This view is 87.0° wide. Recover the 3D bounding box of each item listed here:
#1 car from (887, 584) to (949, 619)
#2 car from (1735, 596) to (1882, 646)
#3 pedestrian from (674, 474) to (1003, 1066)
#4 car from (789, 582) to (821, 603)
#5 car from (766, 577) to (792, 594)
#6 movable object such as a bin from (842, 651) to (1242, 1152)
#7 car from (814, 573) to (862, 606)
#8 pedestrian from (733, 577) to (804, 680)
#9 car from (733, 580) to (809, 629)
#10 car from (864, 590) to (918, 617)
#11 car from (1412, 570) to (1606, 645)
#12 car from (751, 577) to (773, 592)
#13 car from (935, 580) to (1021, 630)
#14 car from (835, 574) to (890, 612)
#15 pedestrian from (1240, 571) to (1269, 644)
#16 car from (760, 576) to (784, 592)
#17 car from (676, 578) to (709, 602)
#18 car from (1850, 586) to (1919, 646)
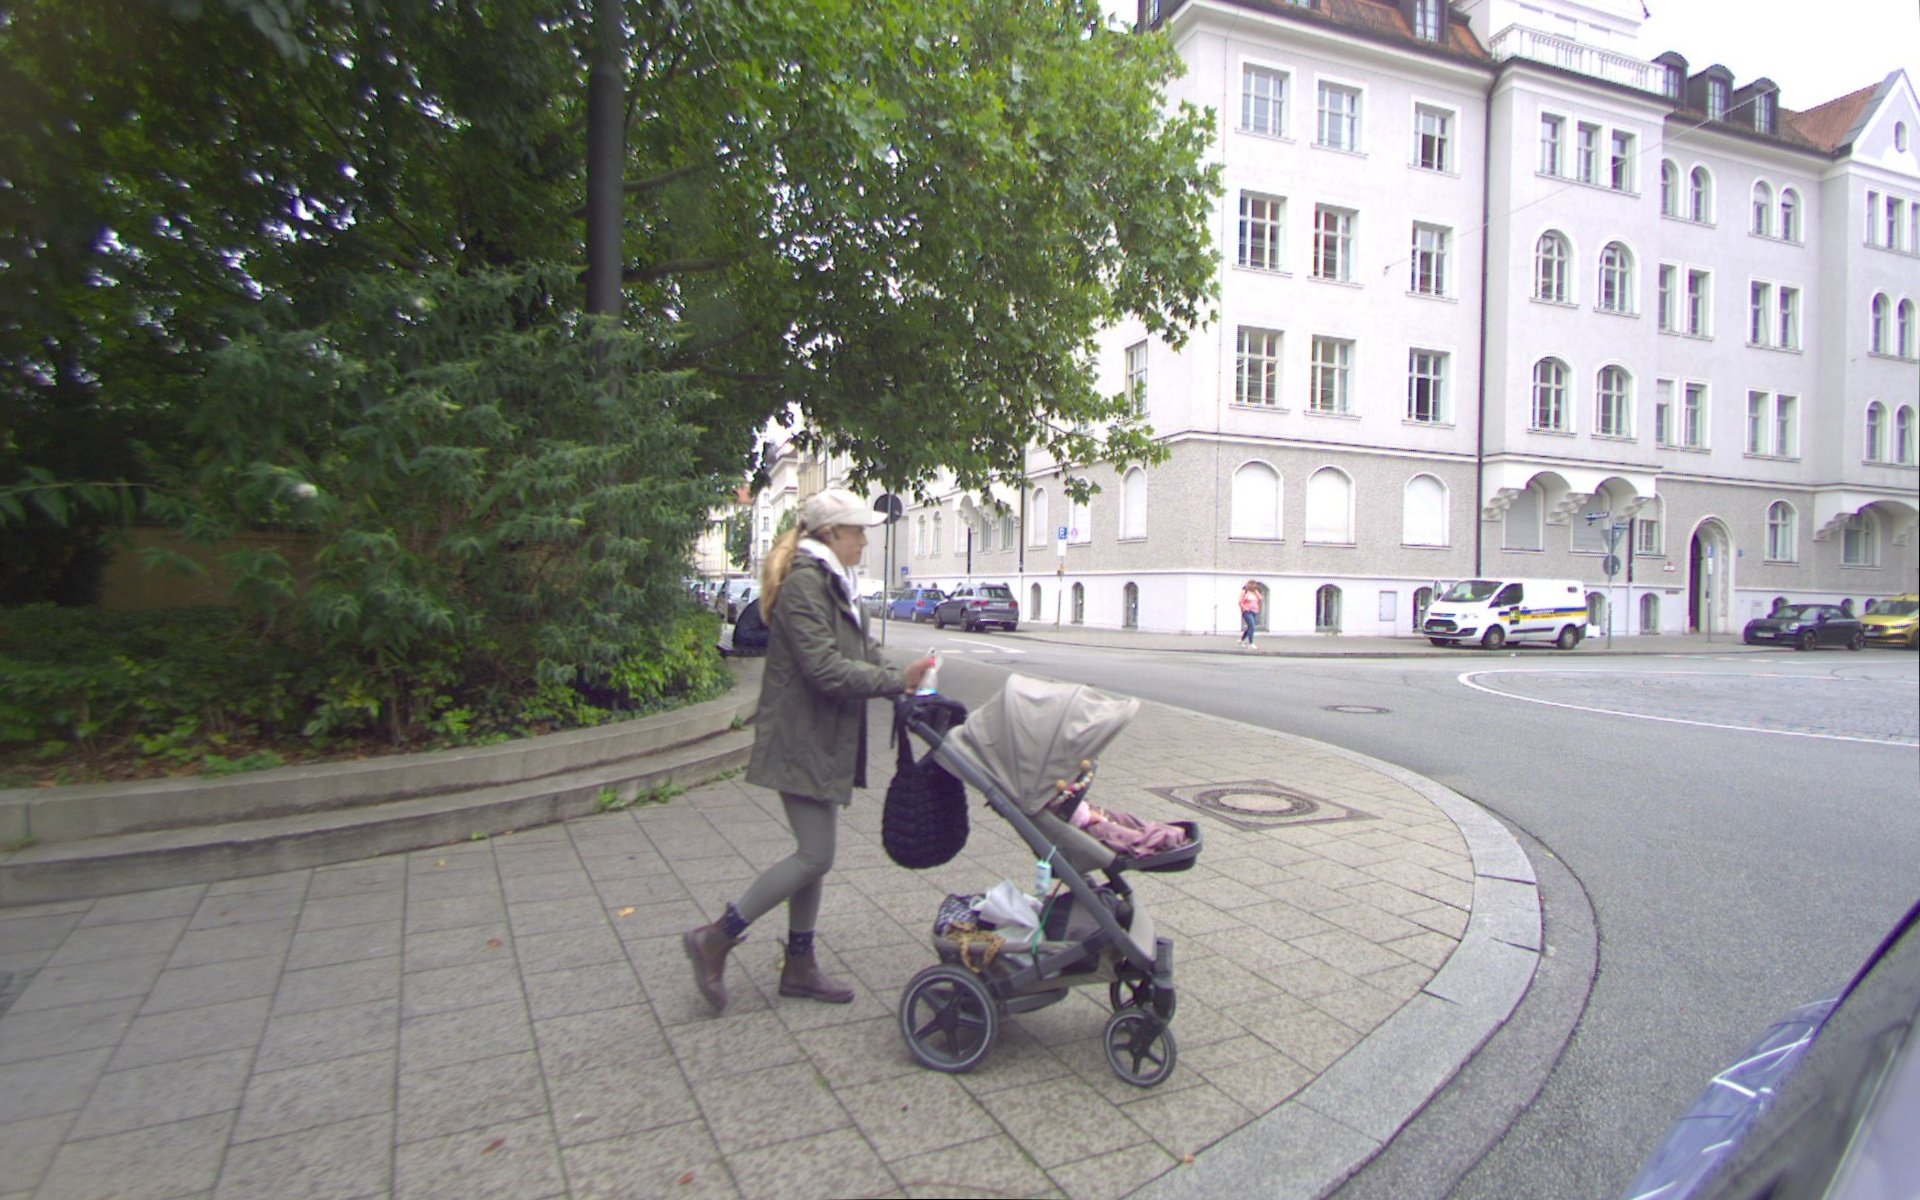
[{"bbox_3d":[-1.781,0.037,42.219,1.665,1.349,3.305,-1,2,-20],"label":"car"},{"bbox_3d":[27.063,0.628,32.309,3.739,1.437,1.956,-1,2,-19],"label":"car"},{"bbox_3d":[-0.404,0.443,3.277,0.859,1.639,0.586,4,3,37],"label":"pedestrian"},{"bbox_3d":[-10.893,-0.561,71.003,1.750,1.371,4.009,-1,2,-16],"label":"car"},{"bbox_3d":[-15.438,-1.230,86.164,1.750,1.371,4.009,-1,2,-16],"label":"car"},{"bbox_3d":[0.249,0.764,3.033,0.896,1.097,0.767,4,3,37],"label":"movable object such as a bin"},{"bbox_3d":[-7.014,-0.643,57.869,1.870,1.779,4.062,-1,2,-20],"label":"car"},{"bbox_3d":[-2.296,0.326,12.106,0.729,1.192,0.579,1,1,-19],"label":"pedestrian"},{"bbox_3d":[-6.203,0.107,32.845,1.701,1.487,4.009,1,1,-21],"label":"car"},{"bbox_3d":[-3.243,0.124,46.862,1.665,1.102,3.224,-1,2,-20],"label":"car"},{"bbox_3d":[15.328,0.201,28.285,4.869,1.959,1.956,1,1,-19],"label":"car"},{"bbox_3d":[-18.765,-1.482,95.879,1.750,1.371,4.009,-1,2,-16],"label":"car"},{"bbox_3d":[0.558,0.115,35.114,1.701,1.602,4.009,-1,2,-19],"label":"car"},{"bbox_3d":[-5.040,-0.398,51.792,1.786,1.779,4.118,-1,2,-20],"label":"car"},{"bbox_3d":[7.327,0.174,25.200,0.558,1.790,0.405,0,1,-11],"label":"pedestrian"},{"bbox_3d":[-16.838,-1.434,90.367,1.750,1.371,4.009,-1,2,-16],"label":"car"},{"bbox_3d":[-17.692,-0.696,66.796,1.701,1.487,4.009,1,1,-21],"label":"car"},{"bbox_3d":[32.238,0.489,33.869,4.213,1.841,1.800,-1,2,-19],"label":"car"}]
